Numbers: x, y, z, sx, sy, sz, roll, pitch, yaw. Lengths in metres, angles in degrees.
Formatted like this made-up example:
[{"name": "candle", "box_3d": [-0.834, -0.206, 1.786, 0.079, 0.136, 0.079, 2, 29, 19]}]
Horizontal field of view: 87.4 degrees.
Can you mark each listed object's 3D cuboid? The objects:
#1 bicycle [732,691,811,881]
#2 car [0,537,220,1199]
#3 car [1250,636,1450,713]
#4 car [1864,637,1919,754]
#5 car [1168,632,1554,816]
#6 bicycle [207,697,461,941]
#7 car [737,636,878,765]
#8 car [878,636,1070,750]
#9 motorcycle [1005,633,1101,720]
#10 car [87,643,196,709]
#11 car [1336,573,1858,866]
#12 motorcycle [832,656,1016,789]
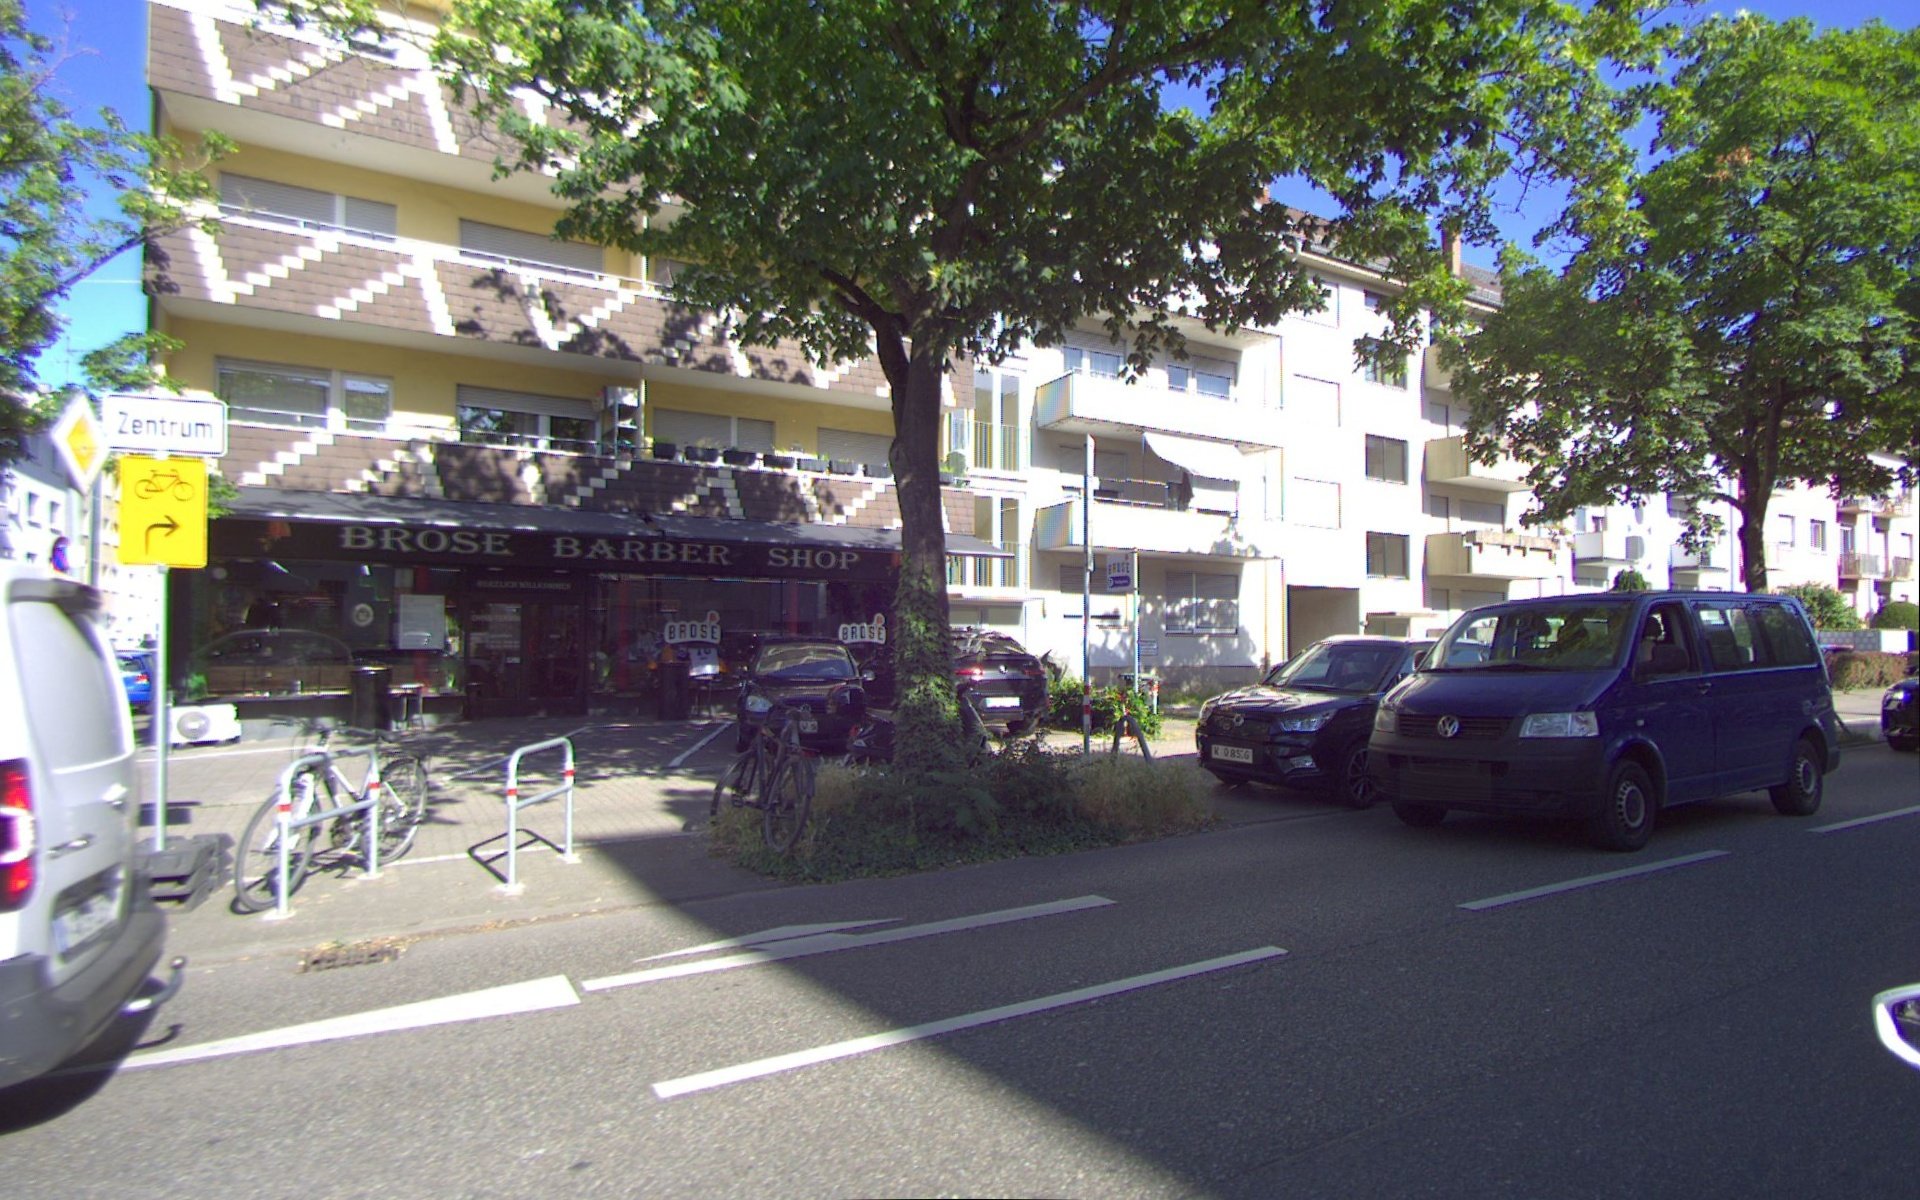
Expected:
[{"name": "bicycle", "box_3d": [-1.406, 1.330, 7.707, 0.453, 1.106, 2.028, 0, -1, -7]}, {"name": "car", "box_3d": [-4.683, 0.740, 2.428, 4.441, 1.765, 1.807, 1, -5, -31]}, {"name": "car", "box_3d": [8.742, 1.609, 22.825, 1.859, 1.506, 3.968, 0, -1, -30]}, {"name": "car", "box_3d": [15.042, 1.310, 14.490, 4.292, 1.586, 1.711, 1, -5, -31]}, {"name": "car", "box_3d": [4.355, 1.171, 10.761, 4.088, 1.617, 1.714, 1, -1, -30]}, {"name": "bicycle", "box_3d": [-3.835, 1.267, 6.356, 0.453, 1.150, 1.936, 0, -1, -2]}, {"name": "car", "box_3d": [-2.245, 1.289, 14.257, 1.702, 1.475, 3.992, 0, -1, -11]}, {"name": "car", "box_3d": [0.078, 1.353, 15.939, 1.707, 1.480, 3.981, 0, -1, -21]}, {"name": "motorcycle", "box_3d": [1.705, 1.381, 18.776, 0.771, 1.506, 2.142, 0, -1, -27]}, {"name": "car", "box_3d": [-19.938, 1.812, 24.603, 1.475, 1.461, 3.634, 0, -2, -30]}, {"name": "car", "box_3d": [5.567, 0.895, 8.636, 4.657, 1.935, 1.795, 1, -5, -31]}, {"name": "motorcycle", "box_3d": [-0.328, 1.121, 9.503, 1.692, 1.140, 0.460, 0, -1, -23]}]
